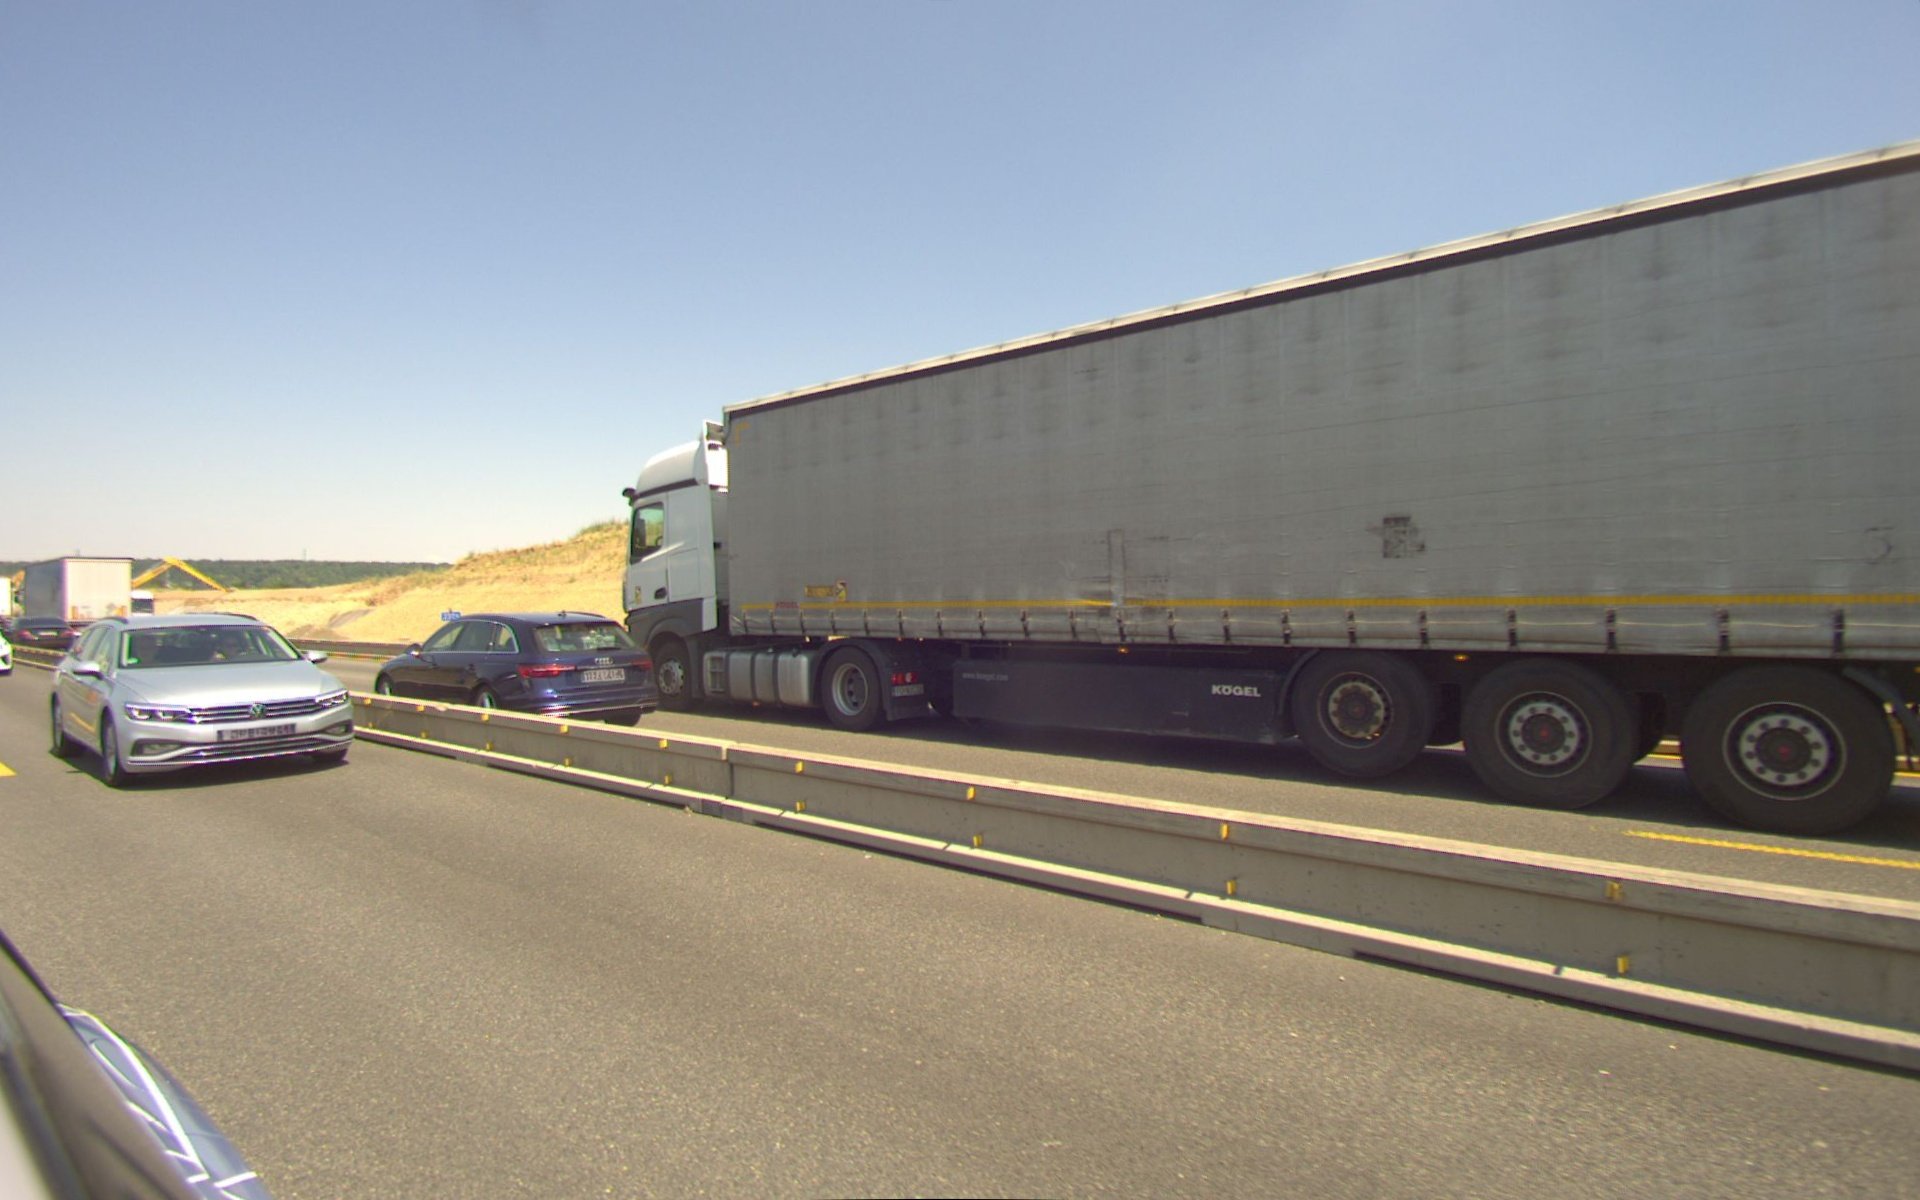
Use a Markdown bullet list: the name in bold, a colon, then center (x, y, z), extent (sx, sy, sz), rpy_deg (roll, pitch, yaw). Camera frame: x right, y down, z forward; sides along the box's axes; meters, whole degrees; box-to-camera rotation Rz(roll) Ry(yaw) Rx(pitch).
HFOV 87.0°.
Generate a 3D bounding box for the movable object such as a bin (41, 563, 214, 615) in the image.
- **movable object such as a bin**: center (-113.915, -1.550, 139.131), extent (3.386, 6.823, 18.034), rpy_deg (0, 1, 40)

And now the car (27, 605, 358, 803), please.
- **car**: center (-7.668, 0.850, 9.967), extent (4.098, 1.519, 1.781), rpy_deg (-1, 0, 41)

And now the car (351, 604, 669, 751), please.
- **car**: center (-5.493, 0.769, 12.076), extent (4.481, 1.397, 1.709), rpy_deg (0, 1, 40)

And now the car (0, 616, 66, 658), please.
- **car**: center (-35.752, 1.357, 38.659), extent (4.857, 1.397, 1.711), rpy_deg (0, 1, 40)

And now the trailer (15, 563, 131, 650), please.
- **trailer**: center (-45.686, 0.342, 51.887), extent (13.989, 3.968, 2.626), rpy_deg (-1, 0, 41)

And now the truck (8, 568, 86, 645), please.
- **truck**: center (-51.007, 0.359, 56.513), extent (5.146, 4.084, 2.566), rpy_deg (-1, 0, 40)

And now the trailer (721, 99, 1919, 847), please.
- **trailer**: center (3.080, -0.645, 9.312), extent (13.703, 4.106, 2.762), rpy_deg (-1, 0, 41)

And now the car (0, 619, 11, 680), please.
- **car**: center (-24.560, 1.183, 24.575), extent (4.029, 1.408, 1.851), rpy_deg (0, 1, 42)

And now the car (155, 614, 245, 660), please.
- **car**: center (-27.094, 1.265, 36.016), extent (4.498, 1.435, 1.614), rpy_deg (0, 1, 40)

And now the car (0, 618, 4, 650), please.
- **car**: center (-50.234, 1.708, 51.555), extent (4.136, 1.567, 1.757), rpy_deg (-1, -2, 40)

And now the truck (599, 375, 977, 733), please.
- **truck**: center (-2.528, -0.548, 14.208), extent (4.942, 4.074, 2.739), rpy_deg (0, 1, 42)

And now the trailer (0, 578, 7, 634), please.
- **trailer**: center (-78.775, 0.474, 80.798), extent (15.528, 4.211, 2.476), rpy_deg (-1, -2, 42)
